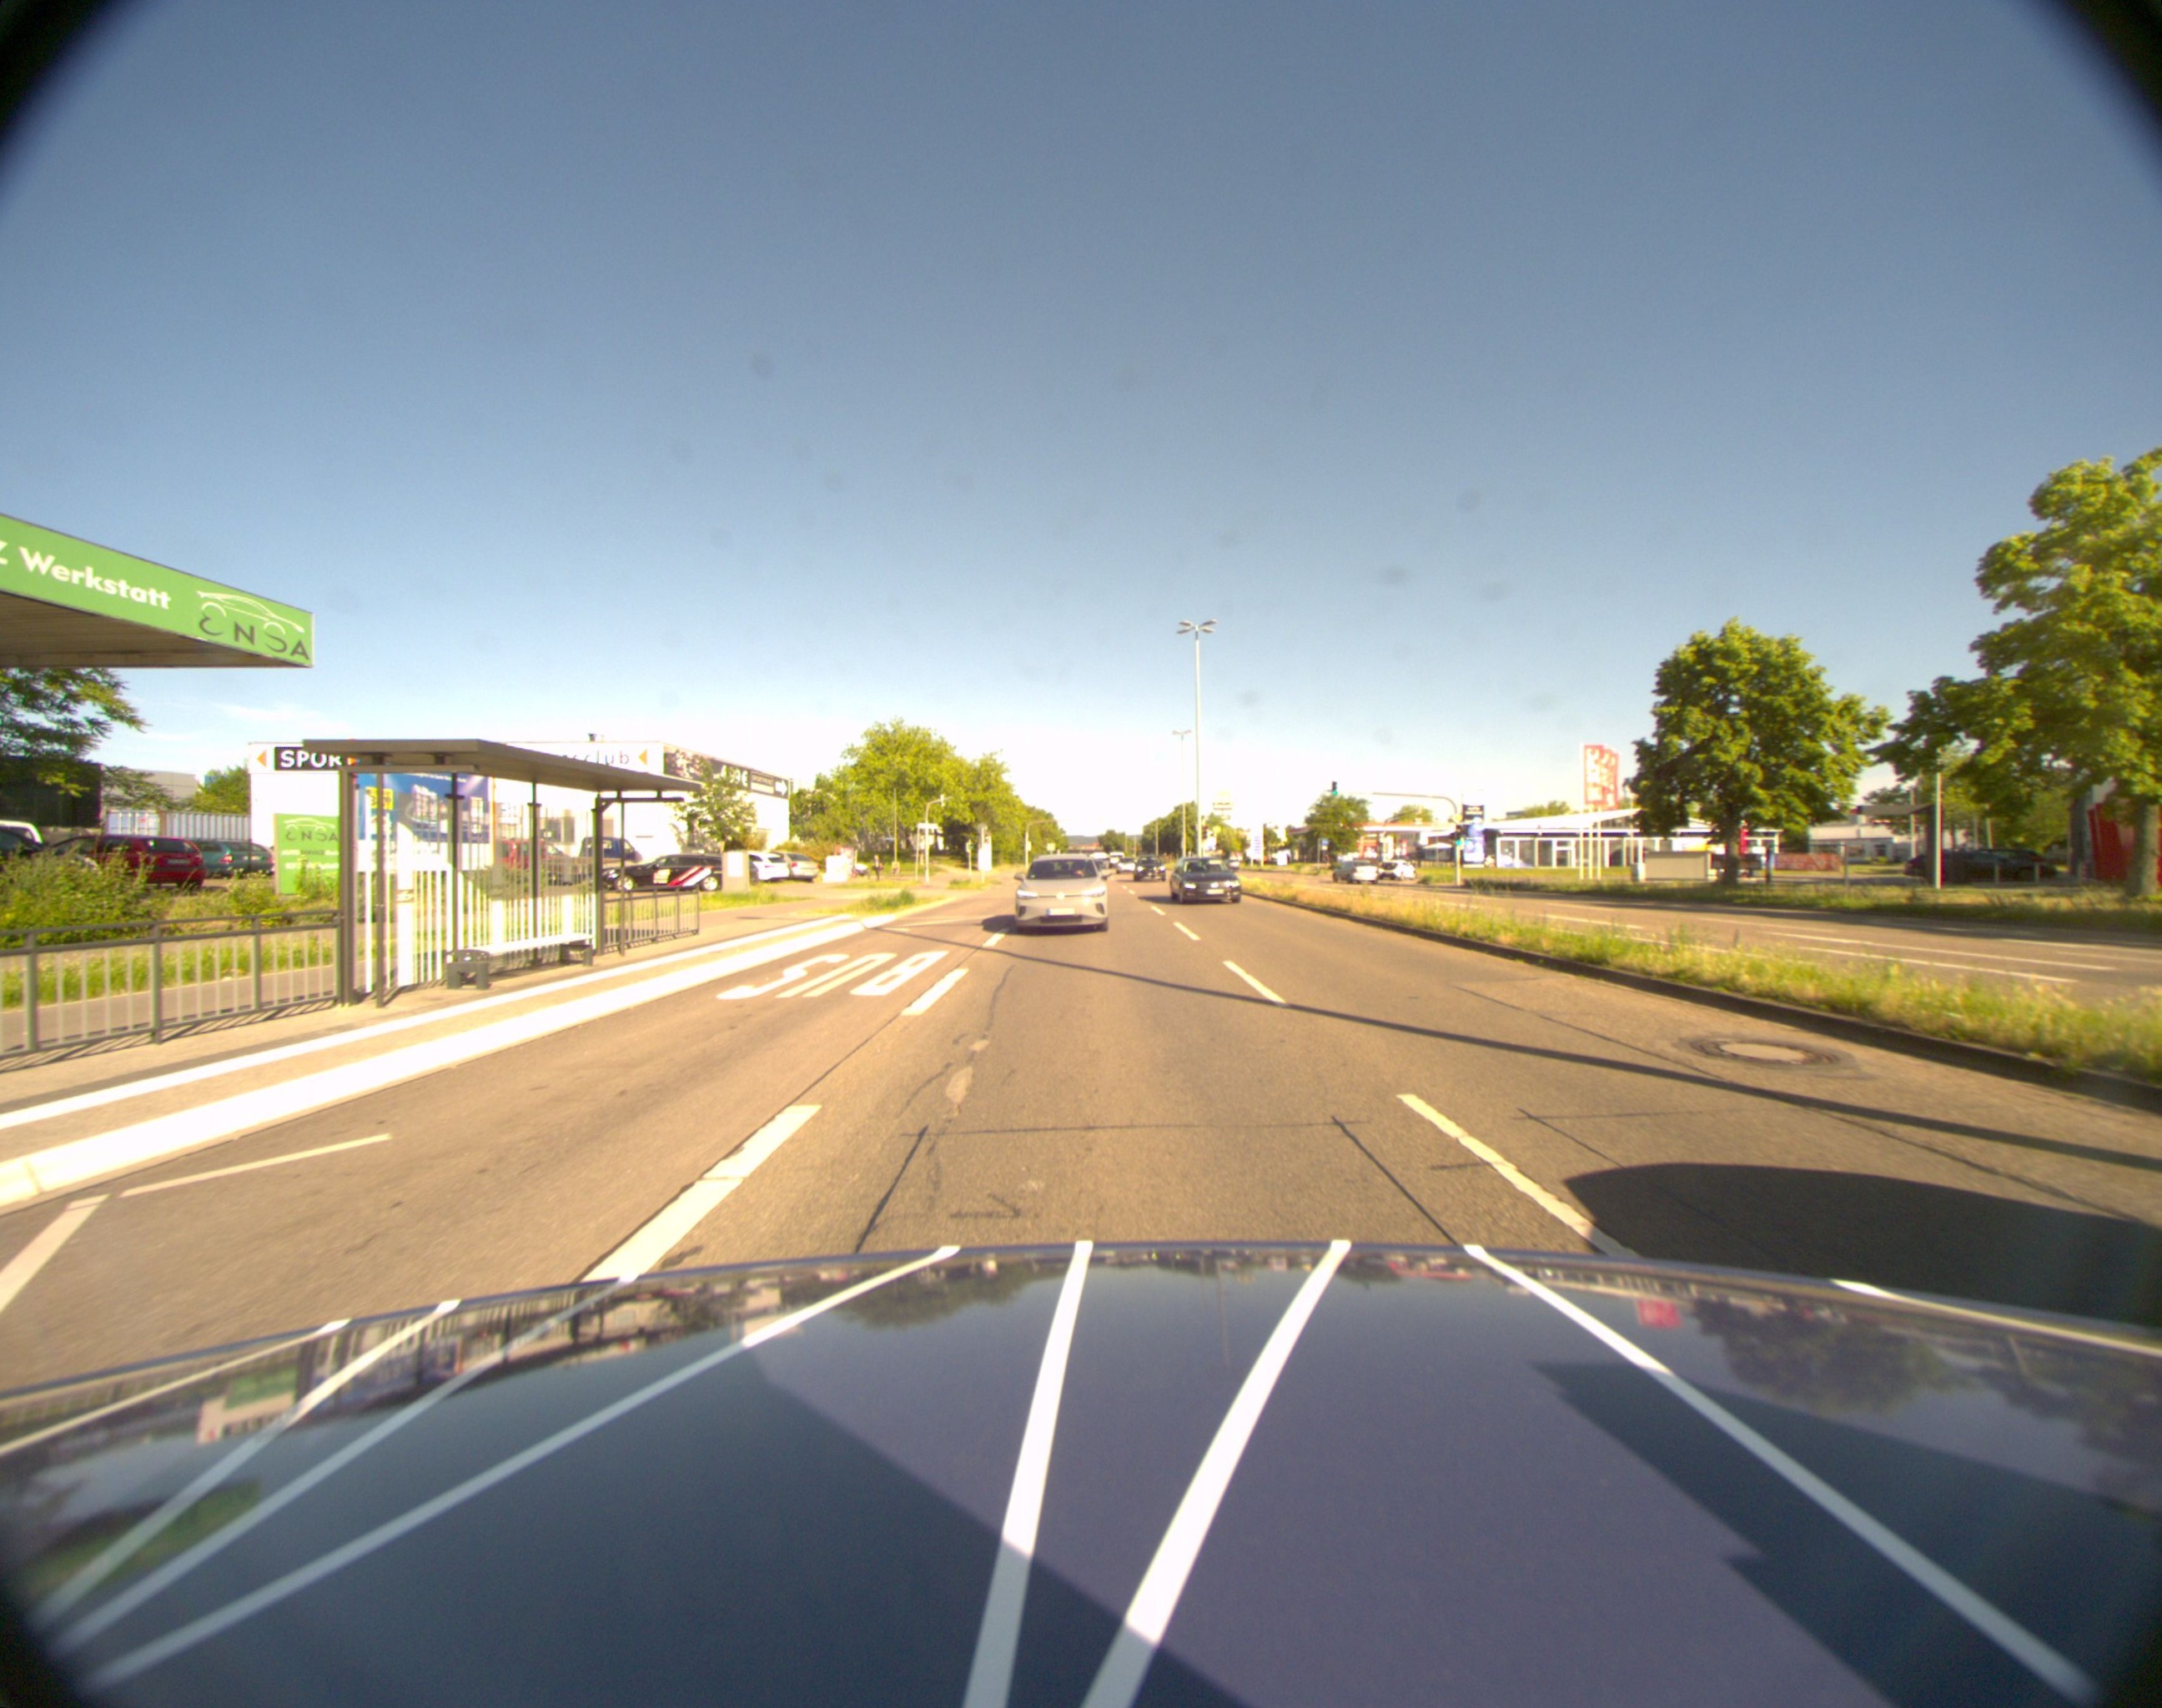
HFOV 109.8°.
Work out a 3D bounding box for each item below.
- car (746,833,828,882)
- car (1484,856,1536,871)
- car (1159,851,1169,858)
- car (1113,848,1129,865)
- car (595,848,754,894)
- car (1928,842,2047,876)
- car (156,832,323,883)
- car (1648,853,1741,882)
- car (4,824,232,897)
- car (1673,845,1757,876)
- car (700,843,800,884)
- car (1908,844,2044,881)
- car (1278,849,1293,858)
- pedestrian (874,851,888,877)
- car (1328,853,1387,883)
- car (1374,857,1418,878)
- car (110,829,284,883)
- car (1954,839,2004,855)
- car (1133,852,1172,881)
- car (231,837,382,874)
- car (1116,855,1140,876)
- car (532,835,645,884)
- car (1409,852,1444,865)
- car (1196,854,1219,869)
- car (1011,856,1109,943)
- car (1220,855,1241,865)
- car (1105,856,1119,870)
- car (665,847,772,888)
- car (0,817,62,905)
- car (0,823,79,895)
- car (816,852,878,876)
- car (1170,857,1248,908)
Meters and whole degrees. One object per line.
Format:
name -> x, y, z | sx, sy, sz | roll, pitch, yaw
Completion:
car -> -15.075, 0.150, 38.932 | 3.986, 2.002, 1.690 | 7, 1, 33
car -> 43.395, 0.985, 76.870 | 4.116, 1.424, 1.901 | 1, 1, 1
car -> 19.736, 0.107, 181.312 | 1.900, 1.590, 4.267 | 1, 0, 1
car -> 5.554, 0.372, 105.910 | 2.089, 2.229, 4.000 | -2, 0, 1
car -> -15.060, 0.640, 28.381 | 1.895, 1.522, 4.847 | 3, 0, 44
car -> 48.687, 0.279, 40.936 | 1.887, 1.738, 3.988 | -1, 0, -44
car -> -32.557, 0.115, 29.482 | 4.214, 1.512, 1.993 | 5, 3, 0
car -> 36.986, 0.807, 45.885 | 1.899, 1.652, 4.122 | -2, 1, -42
car -> -25.861, 0.130, 20.505 | 3.774, 1.539, 1.848 | 5, 3, 0
car -> 40.499, 0.439, 48.562 | 1.851, 1.840, 3.820 | -2, 1, -39
car -> -15.590, 0.451, 35.820 | 3.924, 1.444, 1.727 | 7, 1, 12
car -> 43.494, 0.411, 37.075 | 1.899, 1.652, 4.231 | -2, 1, -42
car -> 39.240, -0.169, 145.761 | 1.762, 1.604, 4.119 | 1, 0, -1
pedestrian -> -13.358, 0.668, 50.689 | 0.759, 1.706, 0.617 | 0, 1, 0
car -> 16.576, 0.798, 45.742 | 1.998, 1.674, 4.177 | 1, 0, 1
car -> 23.593, 0.945, 56.807 | 1.994, 1.465, 4.205 | 0, 1, 37
car -> -31.377, 0.054, 27.058 | 4.213, 1.590, 1.664 | 4, 3, 0
car -> 116.816, -0.906, 98.828 | 1.905, 2.081, 4.107 | 0, 1, -39
car -> 4.462, 0.735, 47.852 | 1.998, 1.674, 4.696 | -2, 0, 1
car -> -32.401, 0.061, 31.882 | 4.213, 1.400, 1.994 | 2, 0, 0
car -> 4.317, 1.049, 70.694 | 1.998, 1.779, 4.270 | -2, 0, 1
car -> -20.094, 0.170, 31.266 | 1.687, 1.773, 4.594 | 3, 1, -2
car -> 38.110, 0.481, 83.865 | 1.900, 1.317, 4.119 | 1, 0, -1
car -> 14.733, 0.852, 88.682 | 1.879, 1.632, 4.170 | 1, 0, 0
car -> -0.362, 0.879, 16.732 | 1.848, 1.615, 4.265 | -1, 0, 1
car -> 20.852, 0.808, 106.008 | 1.998, 1.368, 4.623 | 0, 0, 0
car -> 4.783, 1.333, 118.189 | 1.998, 2.002, 4.000 | -2, 0, 1
car -> -15.537, 0.548, 32.686 | 3.614, 1.283, 1.841 | 7, 1, 2
car -> -21.293, 0.167, 13.092 | 1.998, 1.638, 4.000 | -2, 0, 0
car -> -30.178, 0.180, 20.490 | 3.700, 1.896, 1.924 | -2, 1, 0
car -> -19.900, 0.820, 64.748 | 4.692, 1.923, 1.872 | -1, 1, 1
car -> 4.010, 0.847, 24.454 | 1.848, 1.445, 4.265 | -1, 0, 1
